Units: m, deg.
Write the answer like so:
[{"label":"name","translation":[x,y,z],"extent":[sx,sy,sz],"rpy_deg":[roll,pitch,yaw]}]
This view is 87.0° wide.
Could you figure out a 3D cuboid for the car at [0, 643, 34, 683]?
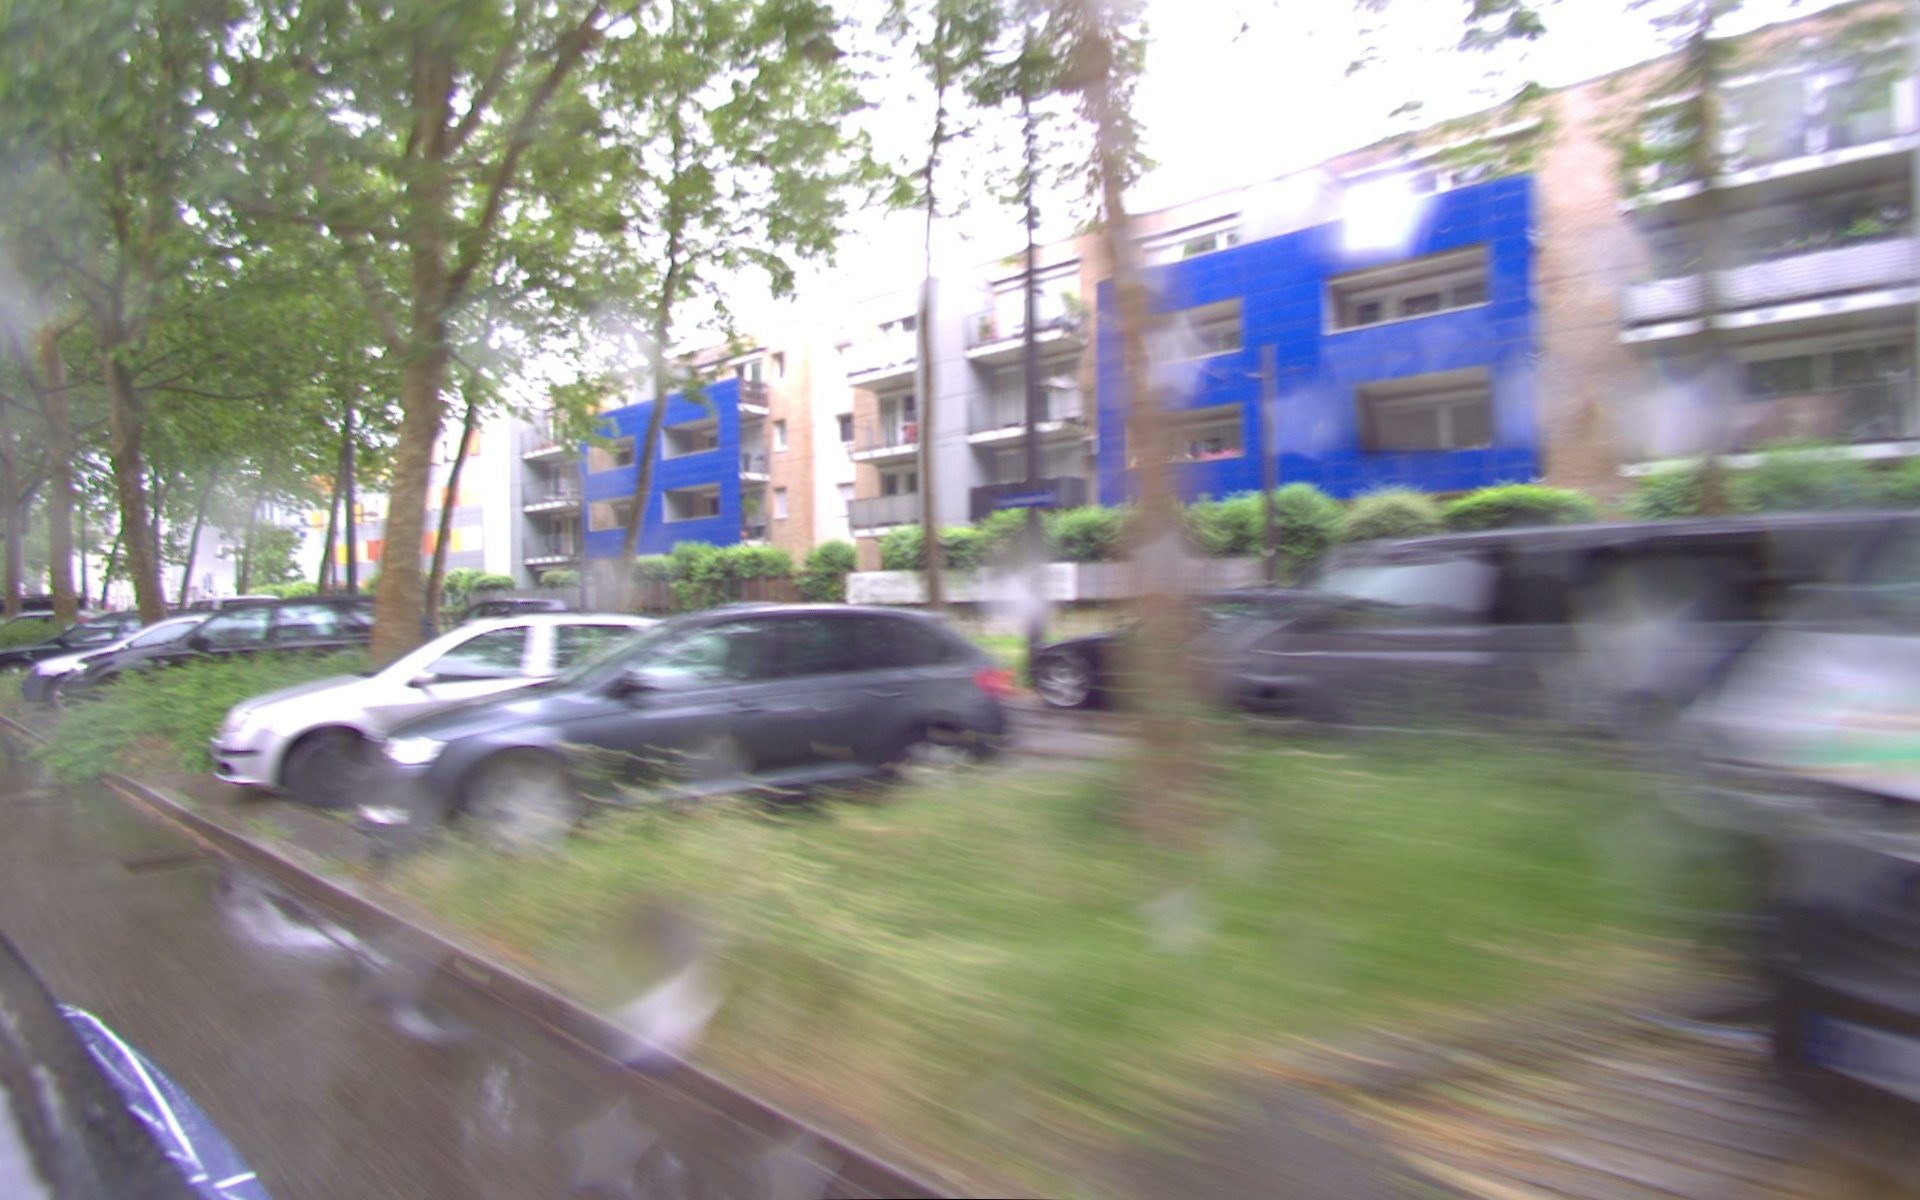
[{"label":"car","translation":[-37.767,2.420,38.407],"extent":[3.442,1.447,1.787],"rpy_deg":[-1,-1,-22]}]

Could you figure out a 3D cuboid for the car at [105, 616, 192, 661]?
[{"label":"car","translation":[-39.800,1.882,49.616],"extent":[5.426,2.012,2.035],"rpy_deg":[-2,1,38]}]

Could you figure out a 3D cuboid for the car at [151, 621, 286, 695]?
[{"label":"car","translation":[-22.758,1.725,30.980],"extent":[5.152,2.015,2.018],"rpy_deg":[-2,-1,38]}]

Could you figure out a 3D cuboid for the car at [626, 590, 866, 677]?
[{"label":"car","translation":[-3.956,0.620,18.396],"extent":[4.251,1.400,1.975],"rpy_deg":[-3,-2,37]}]

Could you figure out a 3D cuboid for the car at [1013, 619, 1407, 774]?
[{"label":"car","translation":[2.916,1.066,12.375],"extent":[4.237,1.531,1.972],"rpy_deg":[-3,-2,42]}]

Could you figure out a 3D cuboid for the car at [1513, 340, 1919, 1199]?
[{"label":"car","translation":[4.130,0.540,2.314],"extent":[5.043,1.992,2.109],"rpy_deg":[0,-1,-18]}]

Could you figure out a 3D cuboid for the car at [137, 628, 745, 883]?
[{"label":"car","translation":[-3.993,1.072,8.342],"extent":[3.999,1.510,1.753],"rpy_deg":[-2,-1,-26]}]

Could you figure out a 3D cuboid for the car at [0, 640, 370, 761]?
[{"label":"car","translation":[-11.809,1.458,15.639],"extent":[4.342,1.658,1.877],"rpy_deg":[1,-2,-18]}]

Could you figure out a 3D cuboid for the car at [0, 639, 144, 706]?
[{"label":"car","translation":[-24.290,1.915,26.631],"extent":[3.995,1.549,1.841],"rpy_deg":[-2,0,-24]}]

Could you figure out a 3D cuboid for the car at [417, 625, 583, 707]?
[{"label":"car","translation":[-11.139,1.532,24.404],"extent":[4.417,1.753,1.885],"rpy_deg":[-2,-1,40]}]

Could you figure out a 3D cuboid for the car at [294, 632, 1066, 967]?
[{"label":"car","translation":[-1.630,1.027,6.596],"extent":[4.241,1.448,1.753],"rpy_deg":[-2,-1,-22]}]

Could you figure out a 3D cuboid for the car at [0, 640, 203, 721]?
[{"label":"car","translation":[-18.937,1.718,21.979],"extent":[3.591,1.490,1.749],"rpy_deg":[-2,0,-19]}]

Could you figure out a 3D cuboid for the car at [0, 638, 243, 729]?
[{"label":"car","translation":[-16.889,1.616,19.949],"extent":[4.157,1.490,1.749],"rpy_deg":[-2,0,-22]}]

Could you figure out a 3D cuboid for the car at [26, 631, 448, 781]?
[{"label":"car","translation":[-9.504,1.318,13.793],"extent":[4.341,1.672,1.936],"rpy_deg":[-1,-1,-21]}]

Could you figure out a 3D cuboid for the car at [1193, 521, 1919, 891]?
[{"label":"car","translation":[4.498,0.589,7.516],"extent":[5.027,2.029,1.973],"rpy_deg":[-1,0,41]}]

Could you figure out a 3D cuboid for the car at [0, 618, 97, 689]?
[{"label":"car","translation":[-32.344,1.815,34.069],"extent":[4.580,2.300,2.018],"rpy_deg":[-1,-1,-20]}]
